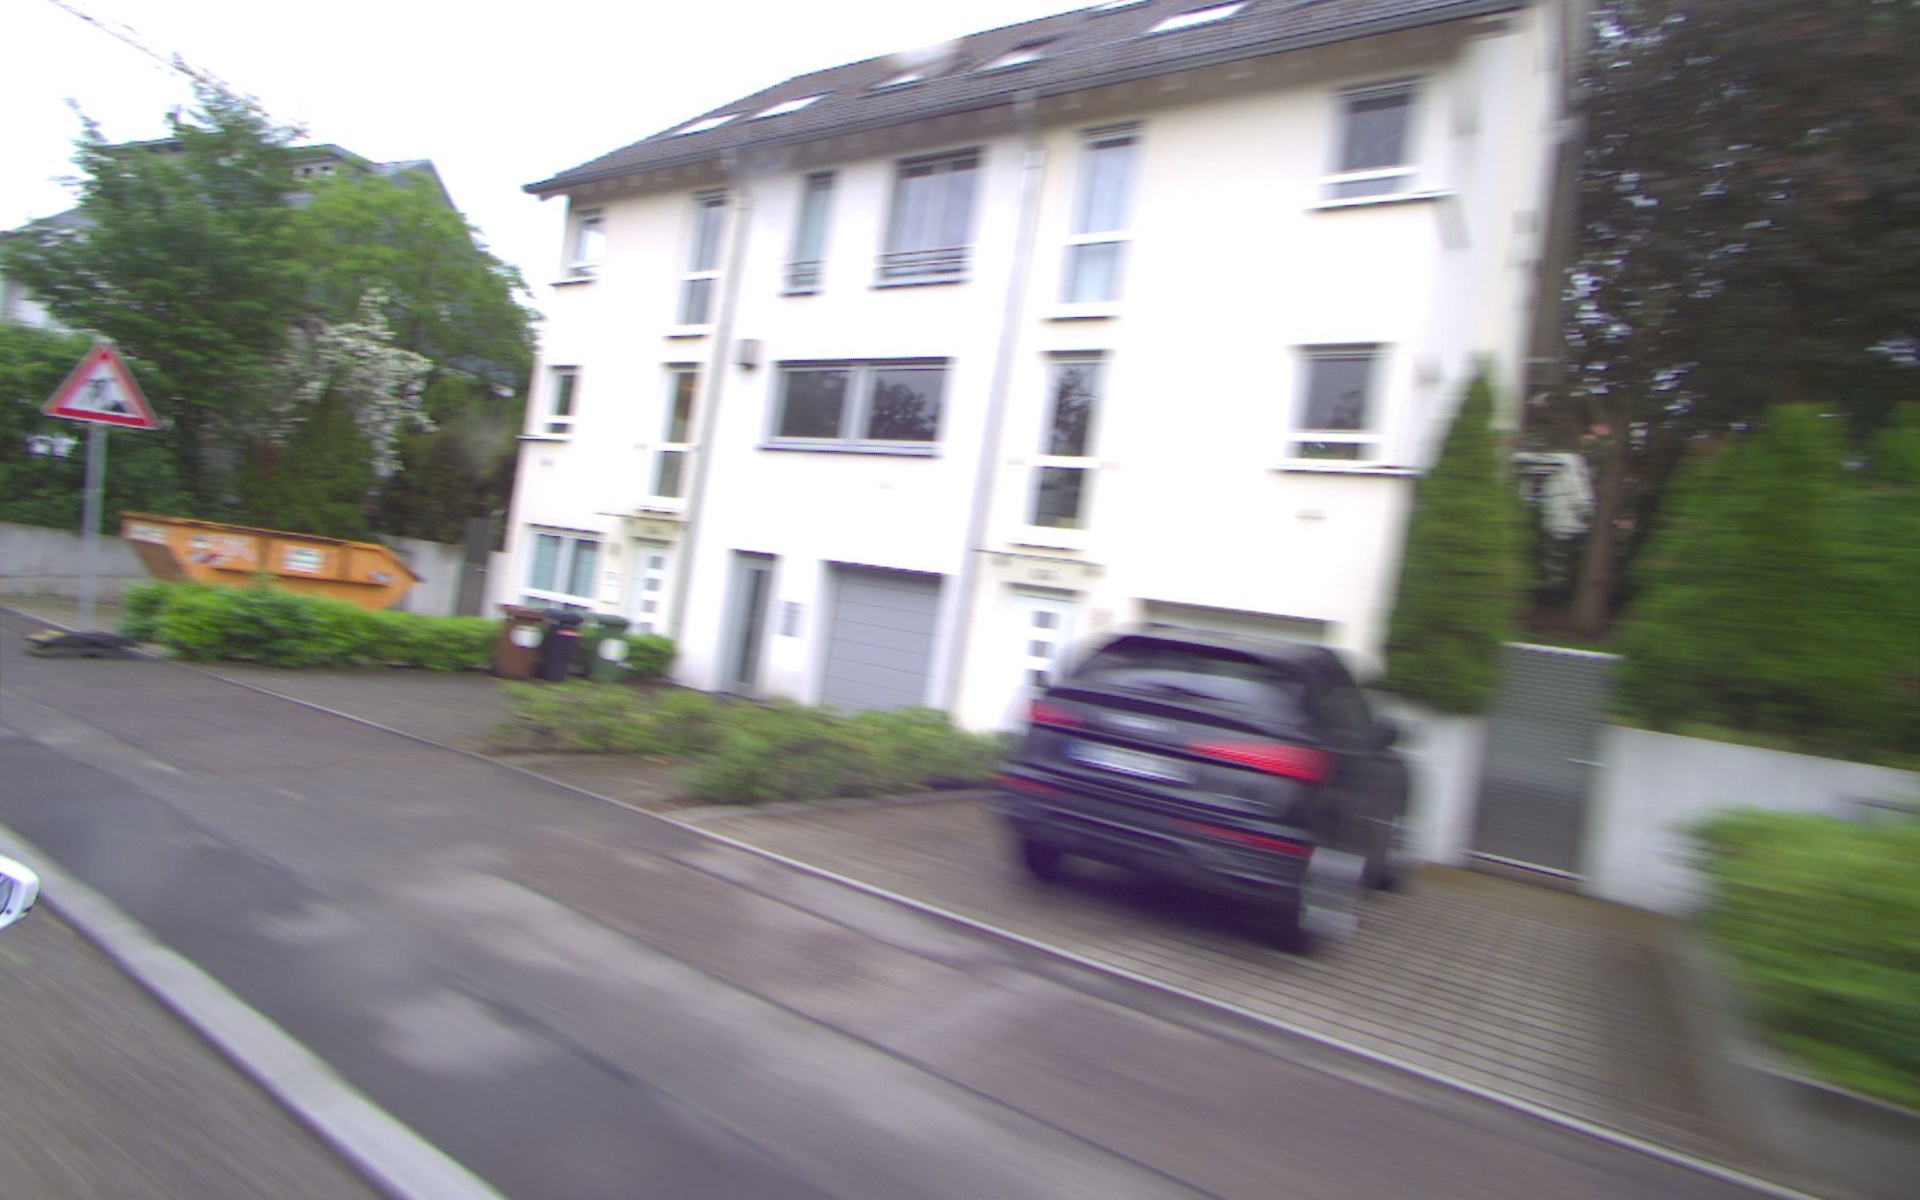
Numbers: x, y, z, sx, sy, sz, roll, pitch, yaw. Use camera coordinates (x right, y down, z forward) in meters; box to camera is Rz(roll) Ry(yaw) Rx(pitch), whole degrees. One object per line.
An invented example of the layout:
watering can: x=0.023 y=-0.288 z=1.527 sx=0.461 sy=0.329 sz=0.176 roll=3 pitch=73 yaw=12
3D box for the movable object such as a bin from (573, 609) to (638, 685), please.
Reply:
movable object such as a bin: x=-4.939 y=0.662 z=14.020 sx=0.585 sy=0.966 sz=0.508 roll=7 pitch=-1 yaw=31

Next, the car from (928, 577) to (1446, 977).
car: x=1.873 y=1.074 z=6.764 sx=1.959 sy=1.612 sz=4.341 roll=6 pitch=-5 yaw=32

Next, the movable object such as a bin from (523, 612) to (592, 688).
movable object such as a bin: x=-5.329 y=0.665 z=13.332 sx=0.585 sy=0.922 sz=0.508 roll=7 pitch=-1 yaw=31

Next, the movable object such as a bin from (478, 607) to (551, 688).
movable object such as a bin: x=-5.674 y=0.608 z=12.814 sx=0.585 sy=0.952 sz=0.508 roll=7 pitch=-1 yaw=31
